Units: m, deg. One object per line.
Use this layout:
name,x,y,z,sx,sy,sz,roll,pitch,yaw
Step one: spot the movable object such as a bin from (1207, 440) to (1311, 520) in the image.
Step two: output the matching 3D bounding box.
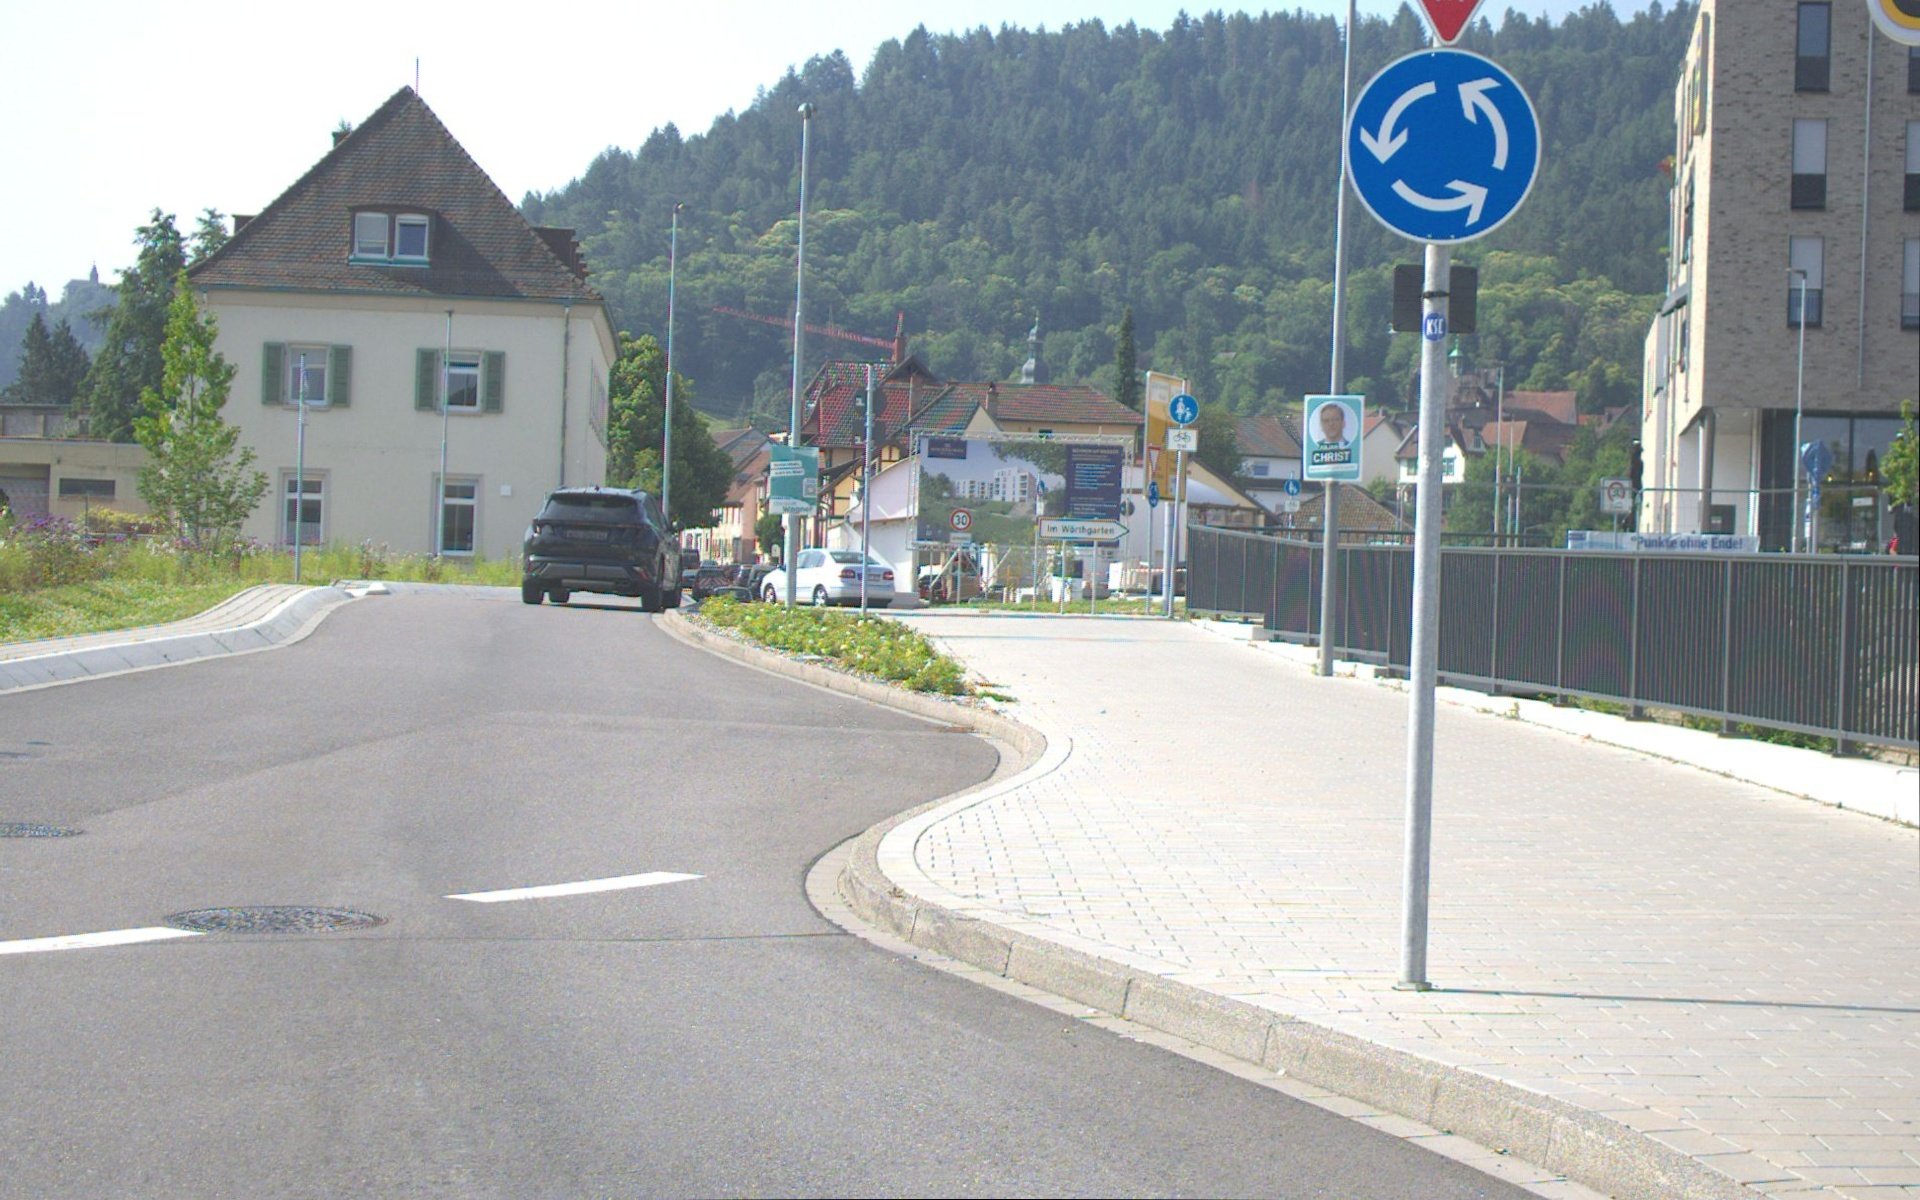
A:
movable object such as a bin,7.211,-2.893,83.052,2.443,1.838,1.428,1,0,5

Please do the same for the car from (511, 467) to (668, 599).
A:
car,-5.080,-0.890,47.571,1.881,1.678,4.000,1,0,-3

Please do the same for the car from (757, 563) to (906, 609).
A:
car,-2.893,-0.325,77.066,3.276,0.961,1.347,1,0,41

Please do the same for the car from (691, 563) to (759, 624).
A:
car,-7.978,-0.215,116.502,1.993,2.007,4.001,1,0,-8
